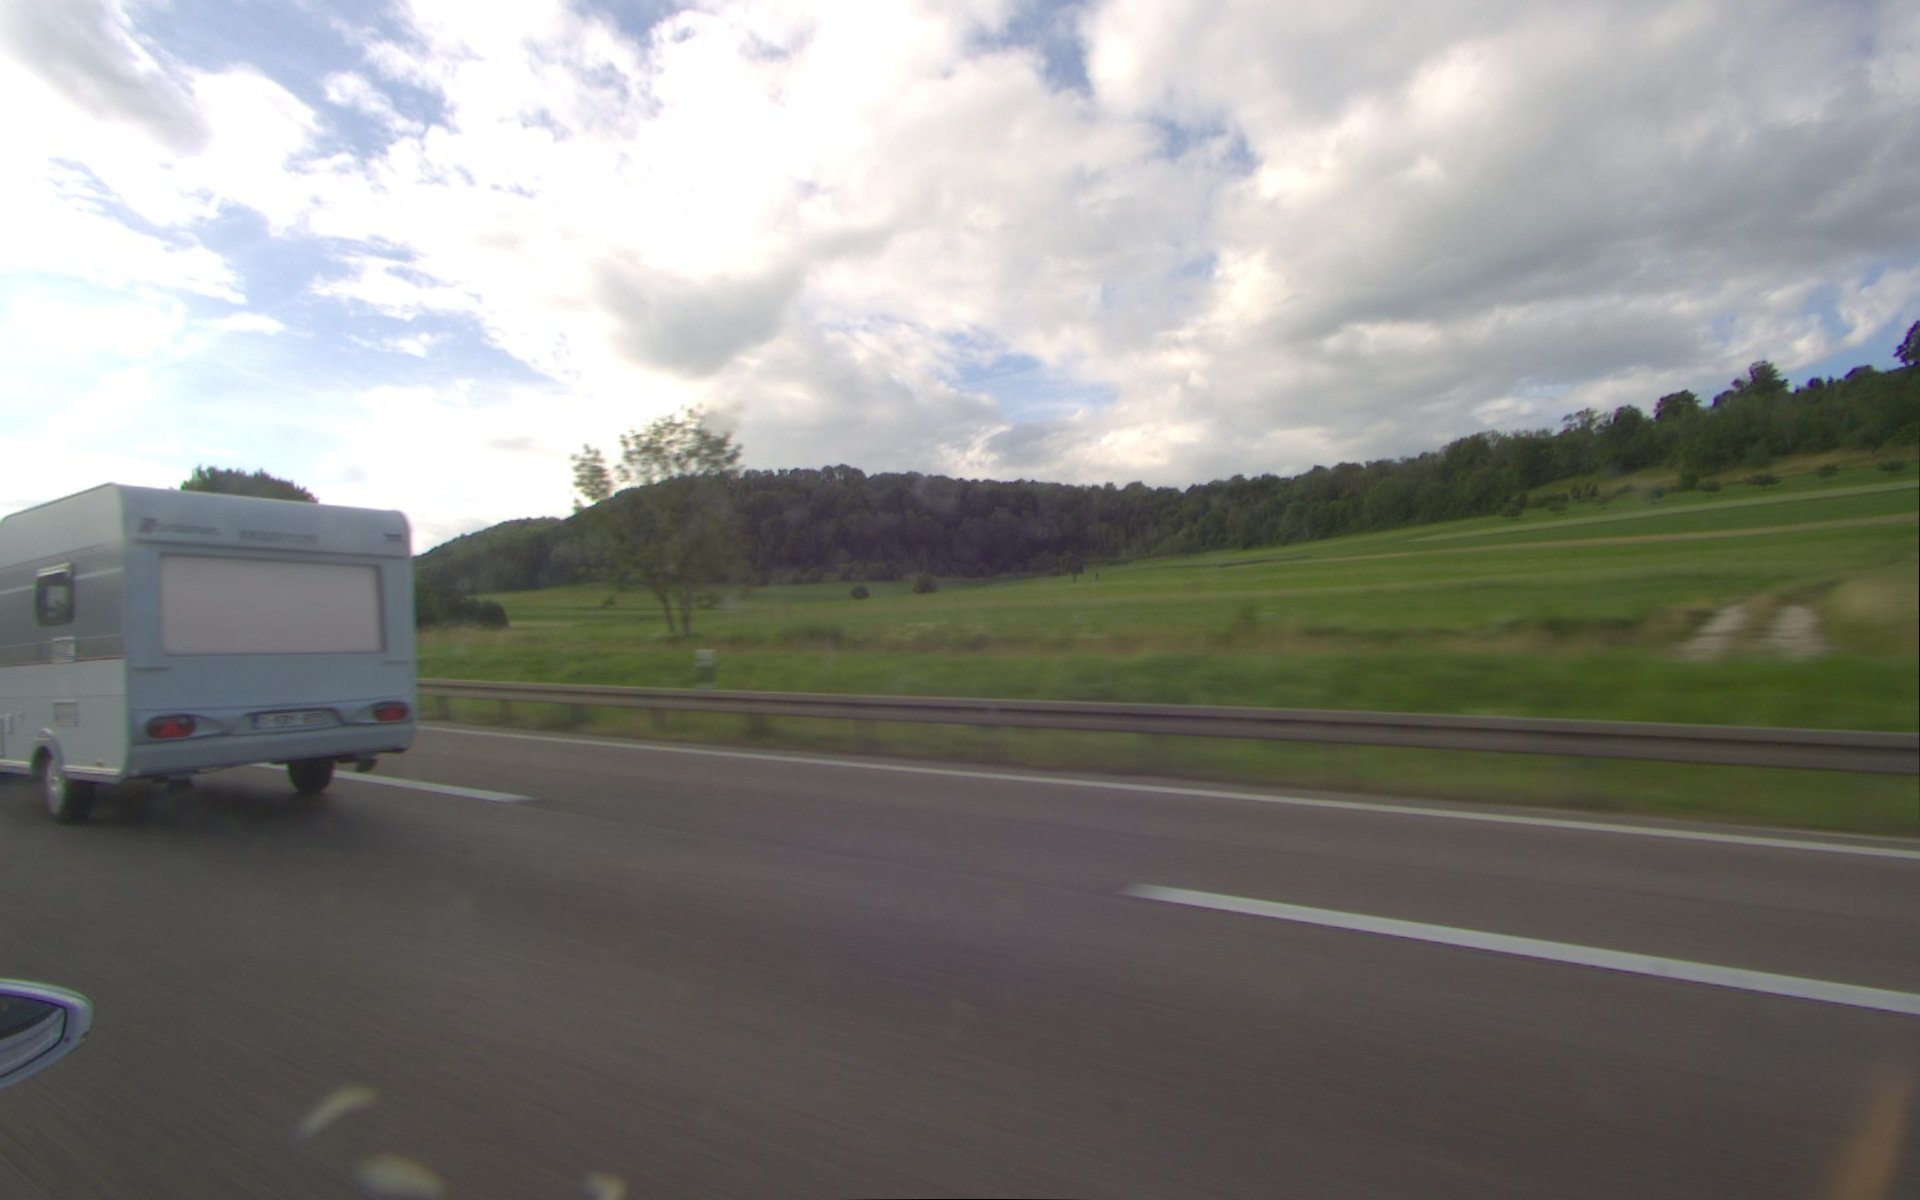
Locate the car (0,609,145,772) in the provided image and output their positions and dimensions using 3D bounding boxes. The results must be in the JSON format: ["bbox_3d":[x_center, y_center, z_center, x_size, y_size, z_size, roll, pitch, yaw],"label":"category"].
[{"bbox_3d":[-11.561,0.962,11.763,4.417,1.674,1.783,-1,-1,32],"label":"car"}]

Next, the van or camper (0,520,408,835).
[{"bbox_3d":[-8.093,0.599,9.682,5.250,2.269,2.544,-1,0,31],"label":"van or camper"}]
